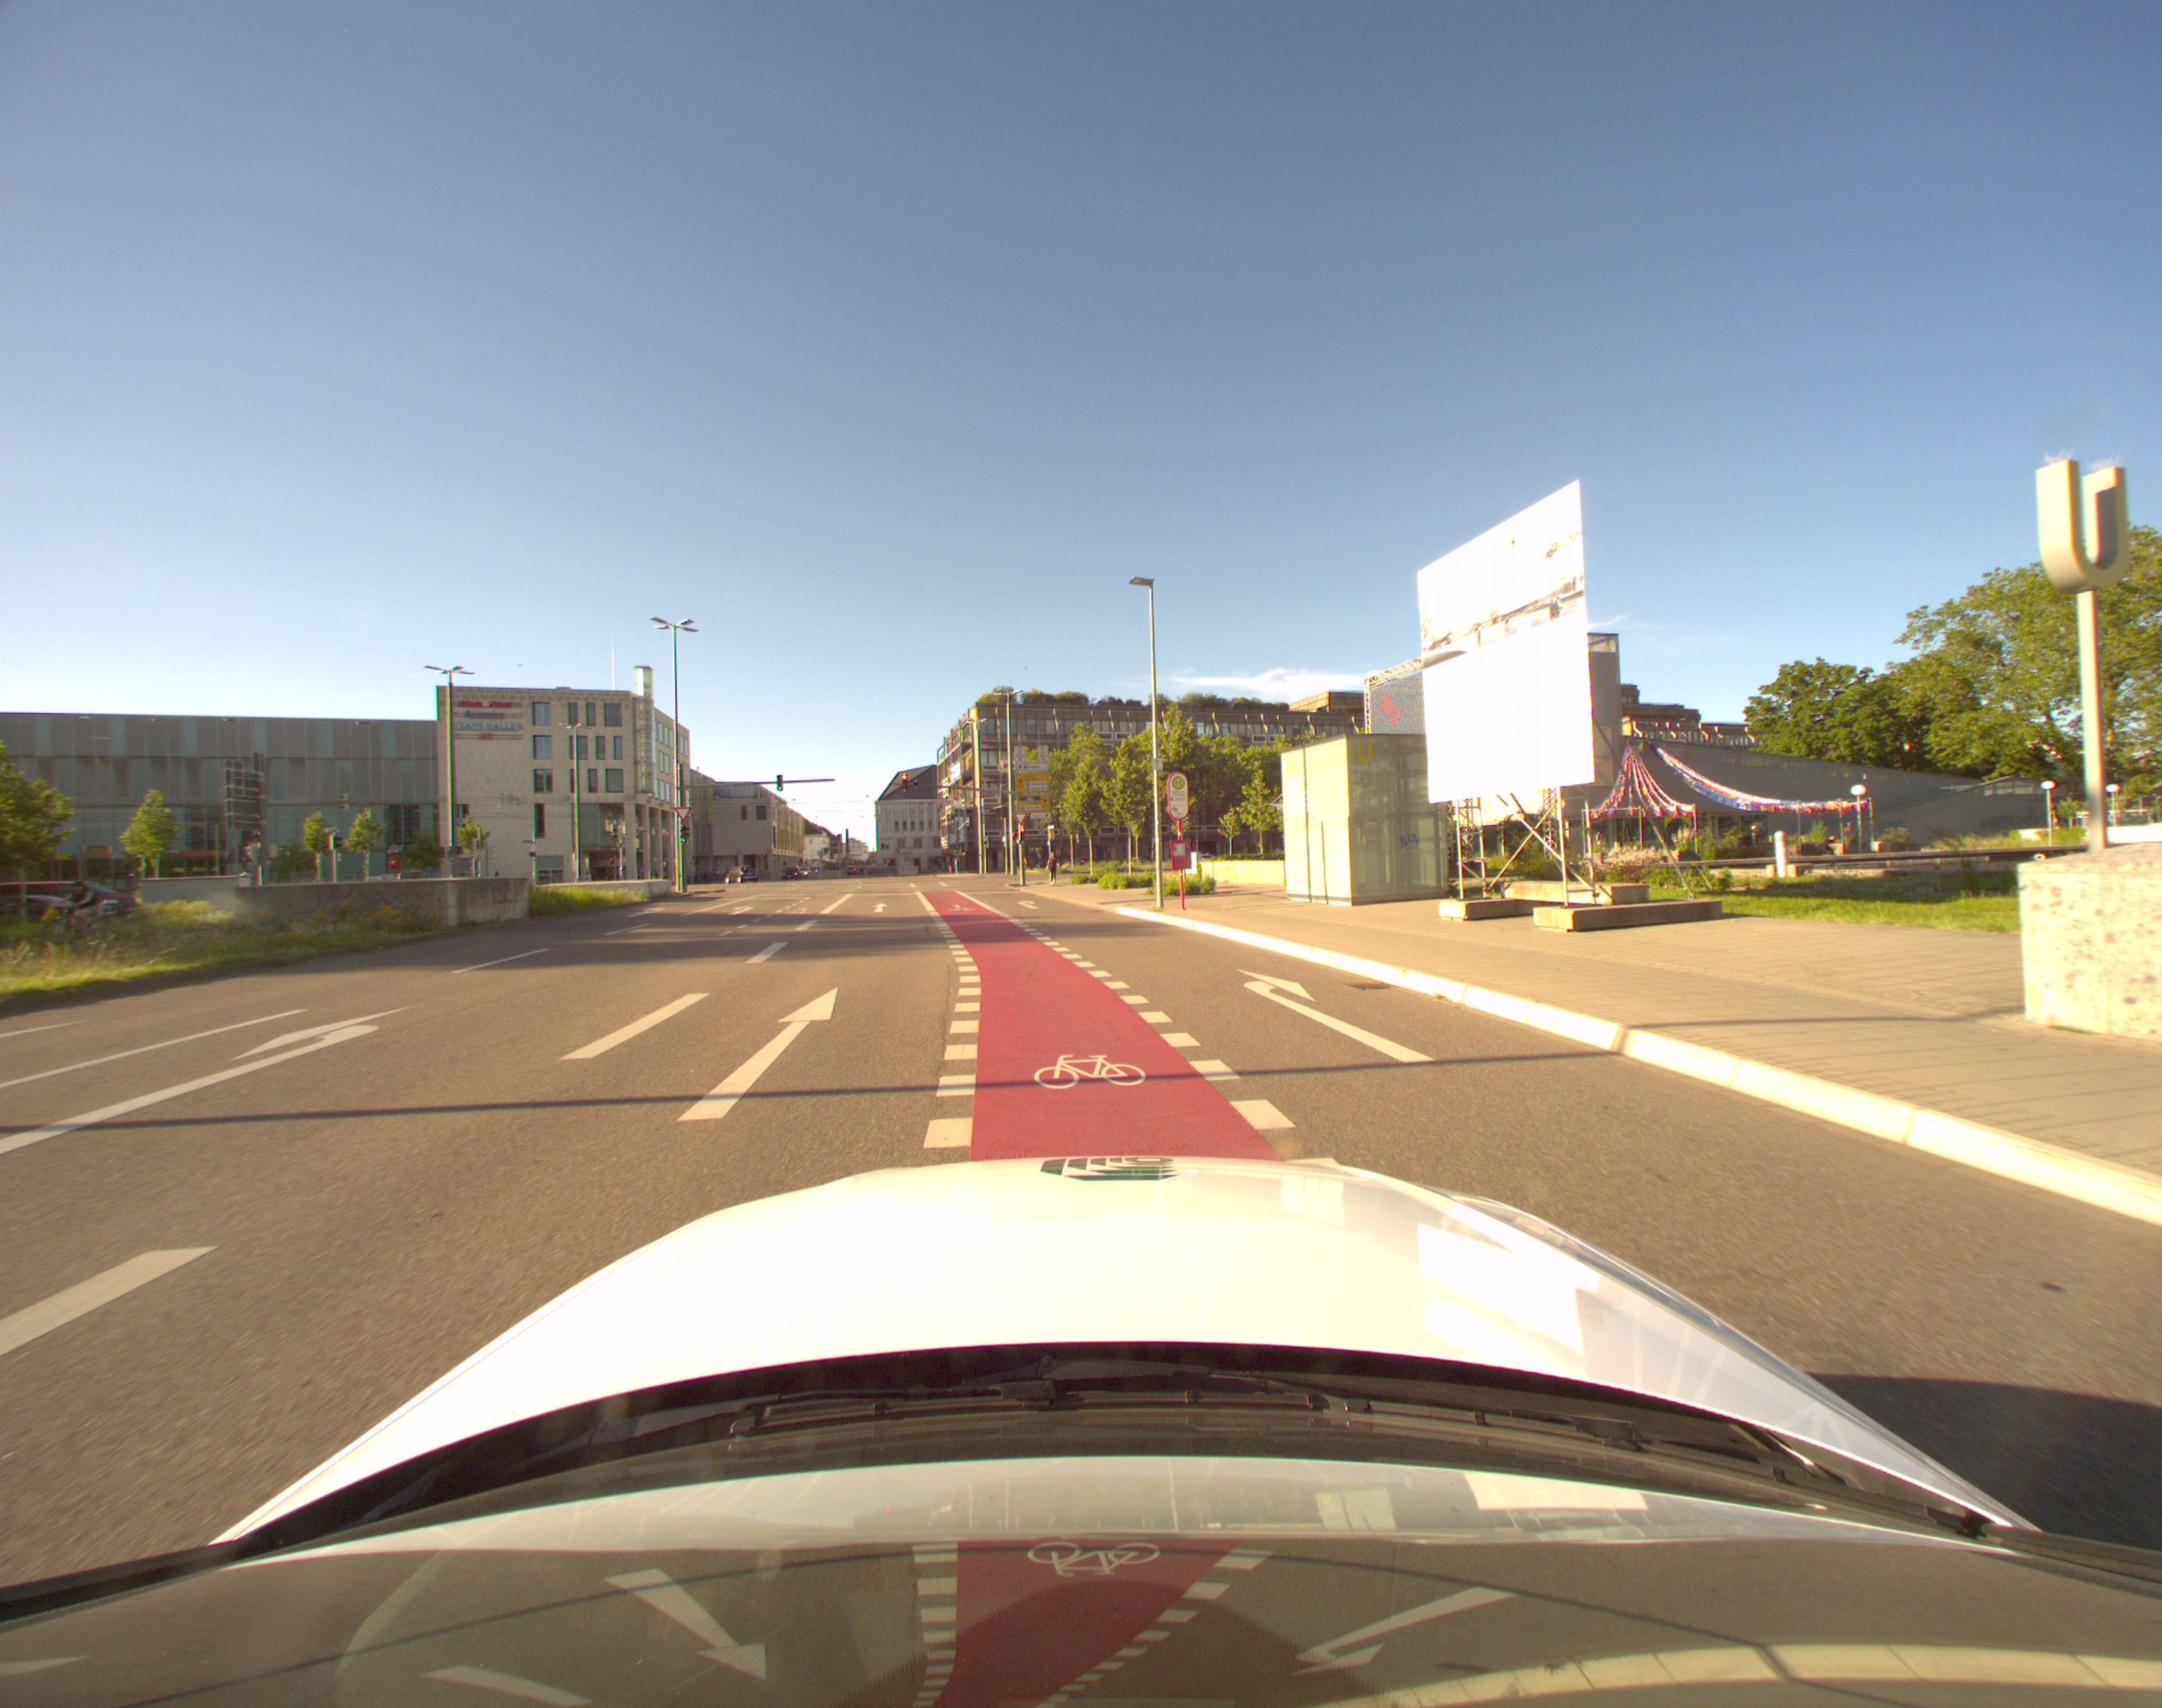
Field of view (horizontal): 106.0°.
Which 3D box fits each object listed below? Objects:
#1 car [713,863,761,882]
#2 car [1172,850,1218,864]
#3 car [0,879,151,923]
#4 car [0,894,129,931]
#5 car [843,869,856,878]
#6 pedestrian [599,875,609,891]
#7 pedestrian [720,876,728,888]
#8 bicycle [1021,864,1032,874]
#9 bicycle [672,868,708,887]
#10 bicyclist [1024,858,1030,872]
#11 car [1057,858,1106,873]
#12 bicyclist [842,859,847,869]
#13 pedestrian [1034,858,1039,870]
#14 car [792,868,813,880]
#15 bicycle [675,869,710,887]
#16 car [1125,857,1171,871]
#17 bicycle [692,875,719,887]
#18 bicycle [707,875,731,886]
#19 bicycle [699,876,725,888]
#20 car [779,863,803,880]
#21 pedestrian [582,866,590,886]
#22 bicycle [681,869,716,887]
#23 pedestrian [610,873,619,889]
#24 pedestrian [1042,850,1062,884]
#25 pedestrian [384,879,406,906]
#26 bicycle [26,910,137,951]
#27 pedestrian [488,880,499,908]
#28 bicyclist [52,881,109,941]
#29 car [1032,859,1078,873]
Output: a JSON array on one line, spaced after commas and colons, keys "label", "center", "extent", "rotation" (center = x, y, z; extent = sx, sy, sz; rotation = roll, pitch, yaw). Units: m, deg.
[{"label": "car", "center": [-30.209, 1.634, 71.521], "extent": [3.741, 1.564, 1.792], "rotation": [-2, 0, 27]}, {"label": "car", "center": [12.682, 0.339, 90.714], "extent": [4.641, 1.356, 1.989], "rotation": [-2, 1, -16]}, {"label": "car", "center": [-49.104, 2.272, 39.653], "extent": [4.656, 1.810, 1.859], "rotation": [-2, -2, -21]}, {"label": "car", "center": [-46.014, 2.606, 36.080], "extent": [4.656, 1.375, 1.859], "rotation": [-2, -2, -21]}, {"label": "car", "center": [-39.006, 3.264, 137.179], "extent": [1.999, 1.552, 3.975], "rotation": [-2, 0, -19]}, {"label": "pedestrian", "center": [-49.061, 3.026, 83.789], "extent": [0.623, 1.608, 0.650], "rotation": [-2, 0, -13]}, {"label": "pedestrian", "center": [-46.931, 3.706, 107.110], "extent": [0.748, 1.608, 0.617], "rotation": [-2, -1, -40]}, {"label": "bicycle", "center": [-5.507, 1.551, 82.103], "extent": [1.077, 0.971, 0.456], "rotation": [-2, 0, -11]}, {"label": "bicycle", "center": [-45.804, 2.763, 95.431], "extent": [3.633, 2.013, 1.079], "rotation": [-2, 0, -21]}, {"label": "bicyclist", "center": [-5.471, 1.113, 82.122], "extent": [0.508, 1.338, 0.451], "rotation": [-2, -1, -10]}, {"label": "car", "center": [0.027, 1.142, 82.379], "extent": [4.641, 1.356, 1.989], "rotation": [-2, 1, -16]}, {"label": "bicyclist", "center": [-36.078, 1.549, 124.299], "extent": [0.747, 1.461, 0.763], "rotation": [-2, 0, -15]}, {"label": "pedestrian", "center": [-5.497, 1.209, 100.877], "extent": [0.621, 1.519, 0.652], "rotation": [-2, 0, -4]}, {"label": "car", "center": [-36.347, 2.542, 106.284], "extent": [1.995, 1.356, 4.627], "rotation": [-2, 1, -12]}, {"label": "bicycle", "center": [-46.129, 2.812, 96.723], "extent": [3.629, 2.013, 1.080], "rotation": [-2, 0, -17]}, {"label": "car", "center": [7.319, 1.067, 89.474], "extent": [4.641, 1.356, 1.989], "rotation": [-2, 1, -16]}, {"label": "bicycle", "center": [-49.190, 3.564, 106.697], "extent": [3.058, 1.400, 0.897], "rotation": [-2, 0, -17]}, {"label": "bicycle", "center": [-51.884, 3.841, 116.725], "extent": [3.058, 1.400, 0.897], "rotation": [-2, 0, -17]}, {"label": "bicycle", "center": [-50.259, 3.803, 110.969], "extent": [3.058, 1.400, 0.897], "rotation": [-2, 0, -17]}, {"label": "car", "center": [-33.396, 1.946, 93.823], "extent": [1.996, 1.742, 4.626], "rotation": [-2, 1, -13]}, {"label": "pedestrian", "center": [-51.424, 2.305, 84.630], "extent": [0.625, 2.013, 0.512], "rotation": [-2, -1, -21]}, {"label": "bicycle", "center": [-46.152, 2.858, 98.208], "extent": [3.629, 2.013, 1.080], "rotation": [-2, 0, -17]}, {"label": "pedestrian", "center": [-48.095, 2.792, 84.017], "extent": [0.623, 1.608, 0.650], "rotation": [-2, 0, -13]}, {"label": "pedestrian", "center": [-1.564, 0.702, 44.145], "extent": [0.816, 1.748, 1.044], "rotation": [-3, -1, 9]}, {"label": "pedestrian", "center": [-40.574, 2.268, 48.167], "extent": [0.725, 1.502, 0.797], "rotation": [-2, -1, -22]}, {"label": "bicycle", "center": [-25.746, 1.956, 21.026], "extent": [0.611, 0.861, 1.946], "rotation": [-2, 0, -7]}, {"label": "pedestrian", "center": [-42.825, 2.898, 59.336], "extent": [0.517, 2.013, 0.619], "rotation": [-2, -1, -25]}, {"label": "bicyclist", "center": [-25.769, 1.457, 20.985], "extent": [0.606, 1.489, 0.679], "rotation": [-2, 0, -7]}, {"label": "car", "center": [-2.885, 1.340, 89.515], "extent": [4.641, 1.356, 1.989], "rotation": [-2, 1, -16]}]
